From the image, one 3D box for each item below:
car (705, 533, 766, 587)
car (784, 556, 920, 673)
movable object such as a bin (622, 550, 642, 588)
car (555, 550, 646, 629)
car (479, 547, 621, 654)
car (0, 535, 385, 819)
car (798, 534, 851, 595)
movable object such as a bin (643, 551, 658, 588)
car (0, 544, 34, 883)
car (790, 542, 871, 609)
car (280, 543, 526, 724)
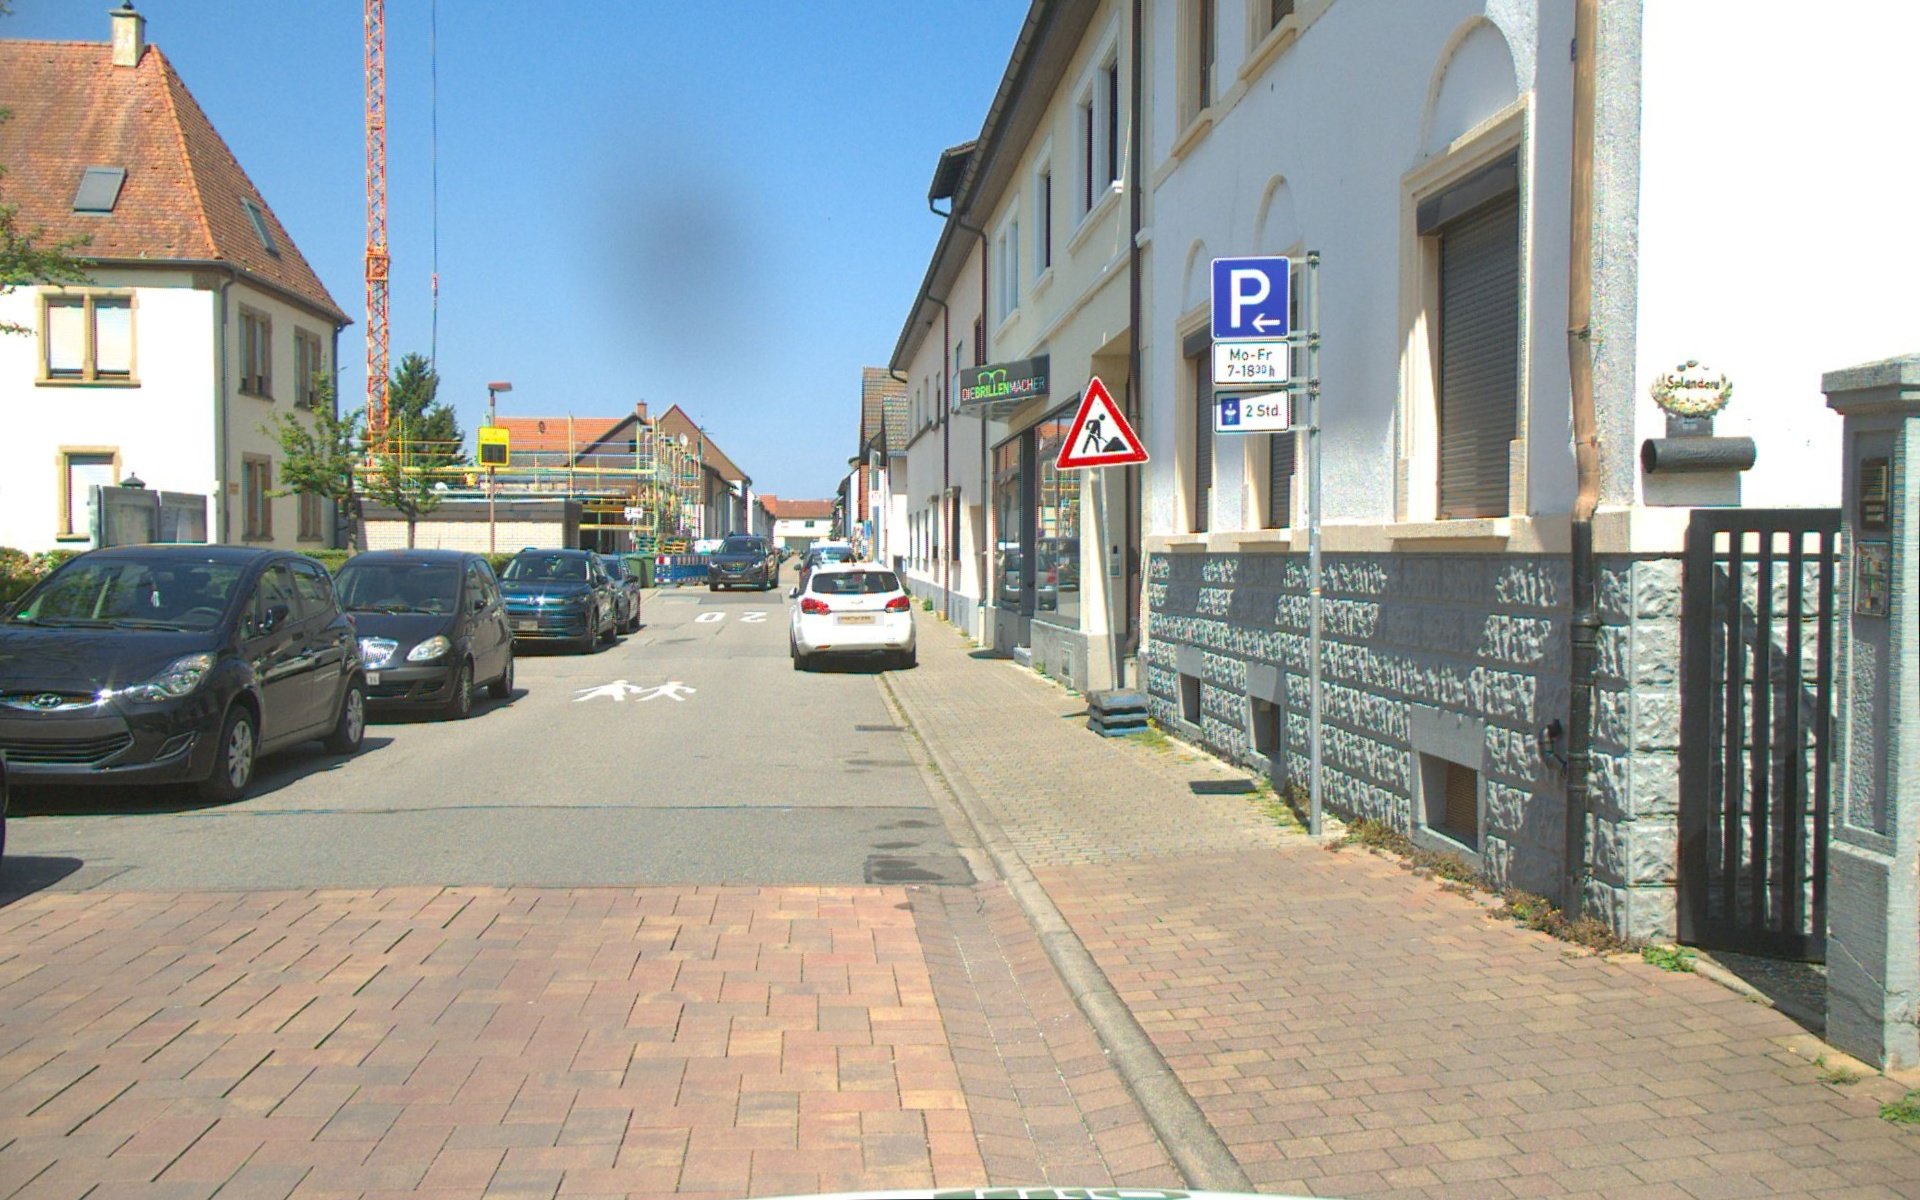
[{"bbox_3d":[-7.209,-1.310,53.372,1.845,1.697,4.148,0,2,-7],"label":"car"},{"bbox_3d":[-1.645,0.143,24.745,1.850,1.568,4.239,0,2,-5],"label":"car"},{"bbox_3d":[-10.381,-0.990,52.379,0.611,1.175,0.675,0,2,-12],"label":"movable object such as a bin"},{"bbox_3d":[-7.260,-0.248,33.627,1.409,1.500,3.782,-1,2,-6],"label":"car"},{"bbox_3d":[-6.842,-0.061,27.981,1.791,1.658,4.211,0,2,-7],"label":"car"},{"bbox_3d":[-5.488,0.379,11.520,1.779,1.632,4.022,0,2,-4],"label":"car"},{"bbox_3d":[-4.078,-1.097,49.650,1.534,1.640,3.540,0,4,-6],"label":"car"},{"bbox_3d":[-9.909,-0.991,52.922,0.424,1.175,0.363,-1,2,-15],"label":"movable object such as a bin"},{"bbox_3d":[-4.913,0.564,5.735,1.670,1.522,3.850,0,2,-8],"label":"car"},{"bbox_3d":[-3.523,-0.693,44.514,1.849,1.582,3.888,-4,3,-8],"label":"car"},{"bbox_3d":[-5.653,0.246,17.230,1.606,1.657,3.764,0,2,-6],"label":"car"}]
